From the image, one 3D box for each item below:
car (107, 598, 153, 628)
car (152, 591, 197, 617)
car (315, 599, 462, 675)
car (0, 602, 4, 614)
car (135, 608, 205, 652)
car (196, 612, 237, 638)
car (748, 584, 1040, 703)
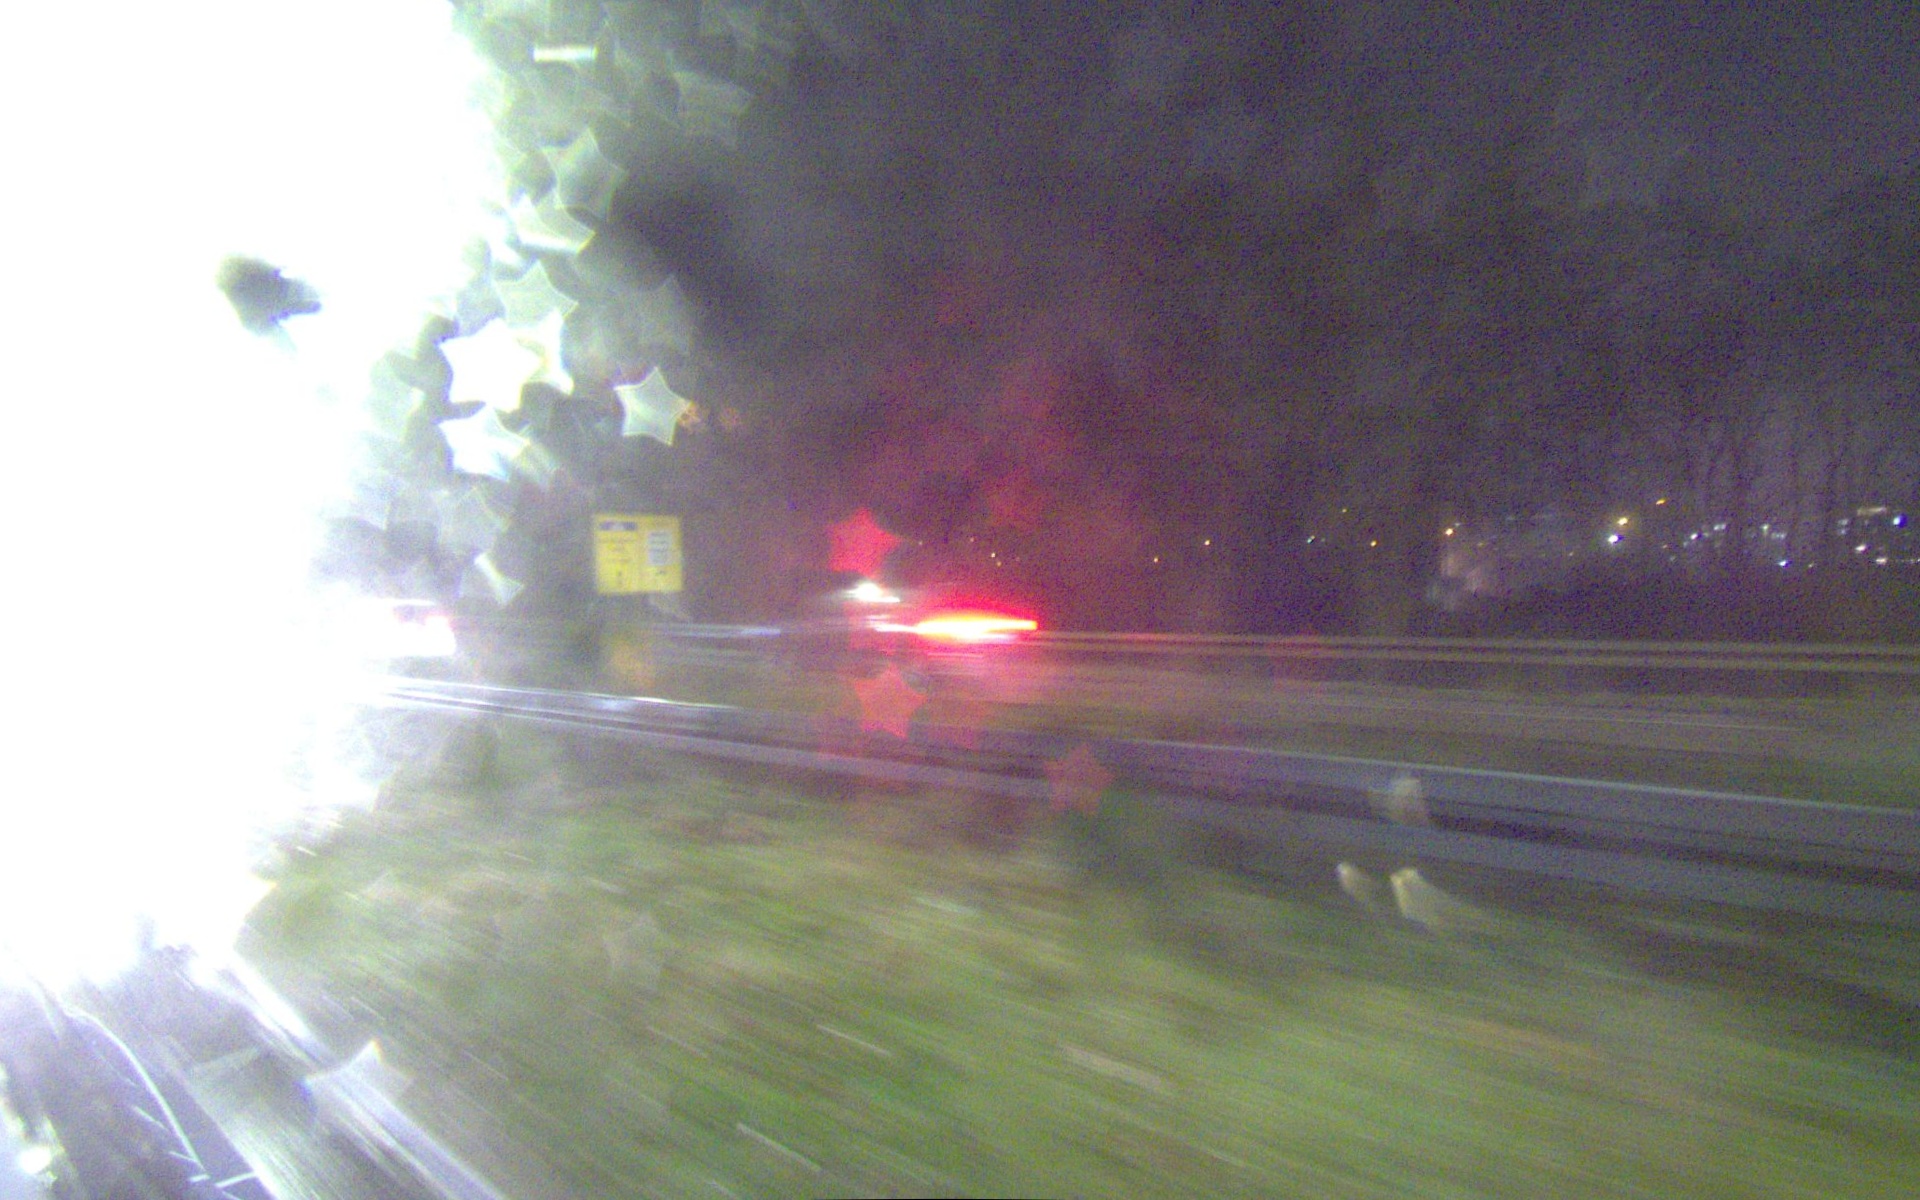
[{"bbox_3d":[-48.611,0.726,59.226,1.847,1.619,4.253,-1,1,-42],"label":"car"},{"bbox_3d":[-60.806,0.310,78.327,3.997,1.873,1.852,0,2,40],"label":"car"},{"bbox_3d":[-13.235,0.838,23.391,3.504,1.583,1.830,-2,-1,40],"label":"car"},{"bbox_3d":[-141.023,1.231,147.775,1.970,1.691,4.005,-2,2,-42],"label":"car"},{"bbox_3d":[-33.785,1.234,43.233,4.251,1.643,1.746,2,2,43],"label":"car"},{"bbox_3d":[-43.525,1.476,59.195,1.690,1.434,4.675,0,-2,-40],"label":"car"},{"bbox_3d":[-1.138,0.602,15.812,4.554,1.605,1.758,-1,0,38],"label":"car"}]
